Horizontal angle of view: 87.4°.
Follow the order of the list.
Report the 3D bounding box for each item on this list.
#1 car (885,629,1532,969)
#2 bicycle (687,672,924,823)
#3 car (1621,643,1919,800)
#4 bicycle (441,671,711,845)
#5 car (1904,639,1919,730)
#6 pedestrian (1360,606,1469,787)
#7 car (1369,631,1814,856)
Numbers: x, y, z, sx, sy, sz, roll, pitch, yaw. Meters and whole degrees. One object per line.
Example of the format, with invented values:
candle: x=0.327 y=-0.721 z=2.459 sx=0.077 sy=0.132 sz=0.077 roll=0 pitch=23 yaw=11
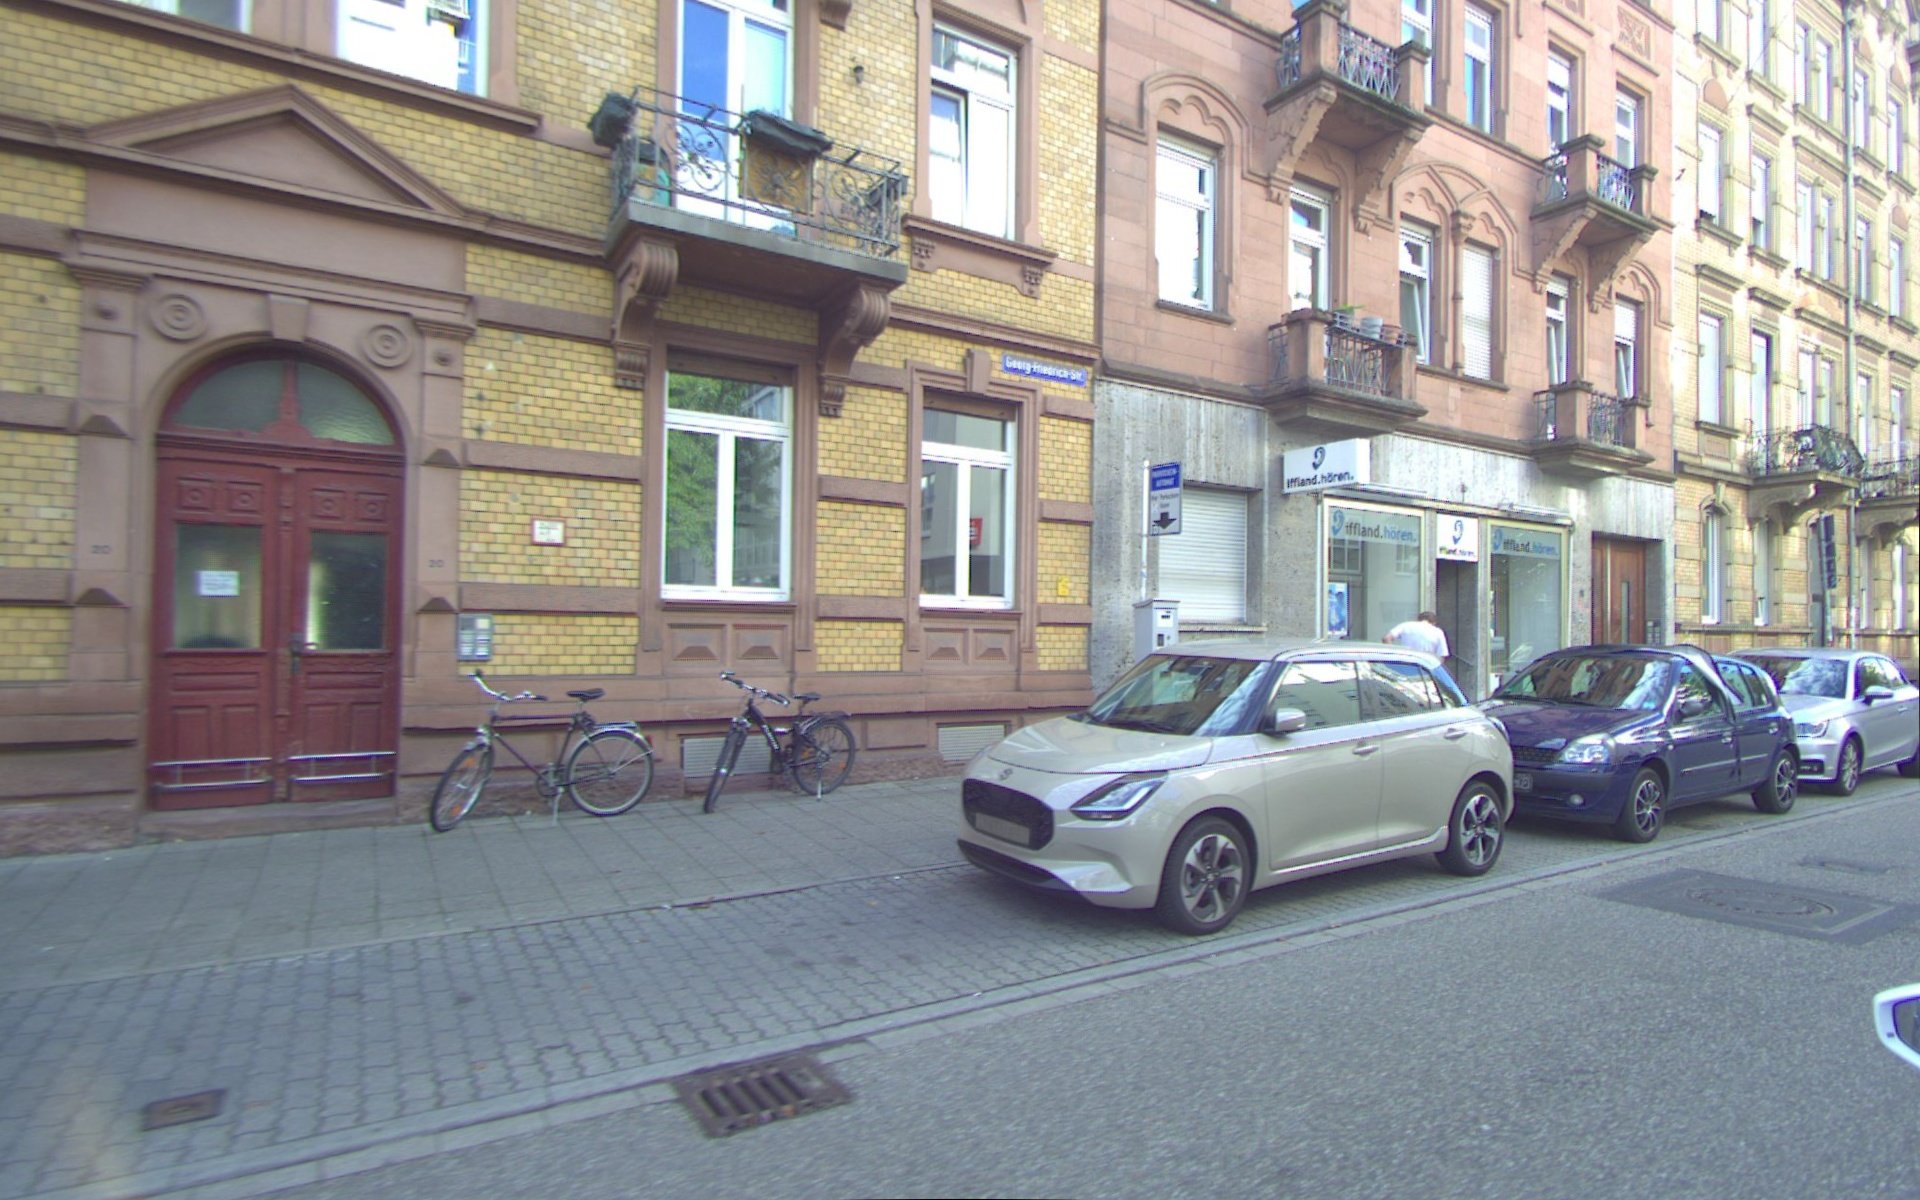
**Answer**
car: x=1.671 y=0.966 z=6.345 sx=3.939 sy=1.503 sz=1.732 roll=2 pitch=-1 yaw=-32
bicycle: x=-1.285 y=1.171 z=8.401 sx=1.751 sy=1.051 sz=0.893 roll=1 pitch=0 yaw=-31
car: x=9.141 y=1.200 z=11.058 sx=3.824 sy=1.405 sz=1.681 roll=2 pitch=-1 yaw=-32
bicycle: x=-2.838 y=1.103 z=7.450 sx=1.751 sy=1.051 sz=0.850 roll=1 pitch=1 yaw=-31
car: x=16.795 y=1.353 z=15.991 sx=3.824 sy=1.405 sz=1.681 roll=2 pitch=-1 yaw=-32
pedestrian: x=4.866 y=0.995 z=10.766 sx=0.765 sy=1.814 sz=0.725 roll=1 pitch=2 yaw=-38
car: x=5.534 y=1.051 z=8.689 sx=3.939 sy=1.503 sz=1.732 roll=2 pitch=-1 yaw=-32
